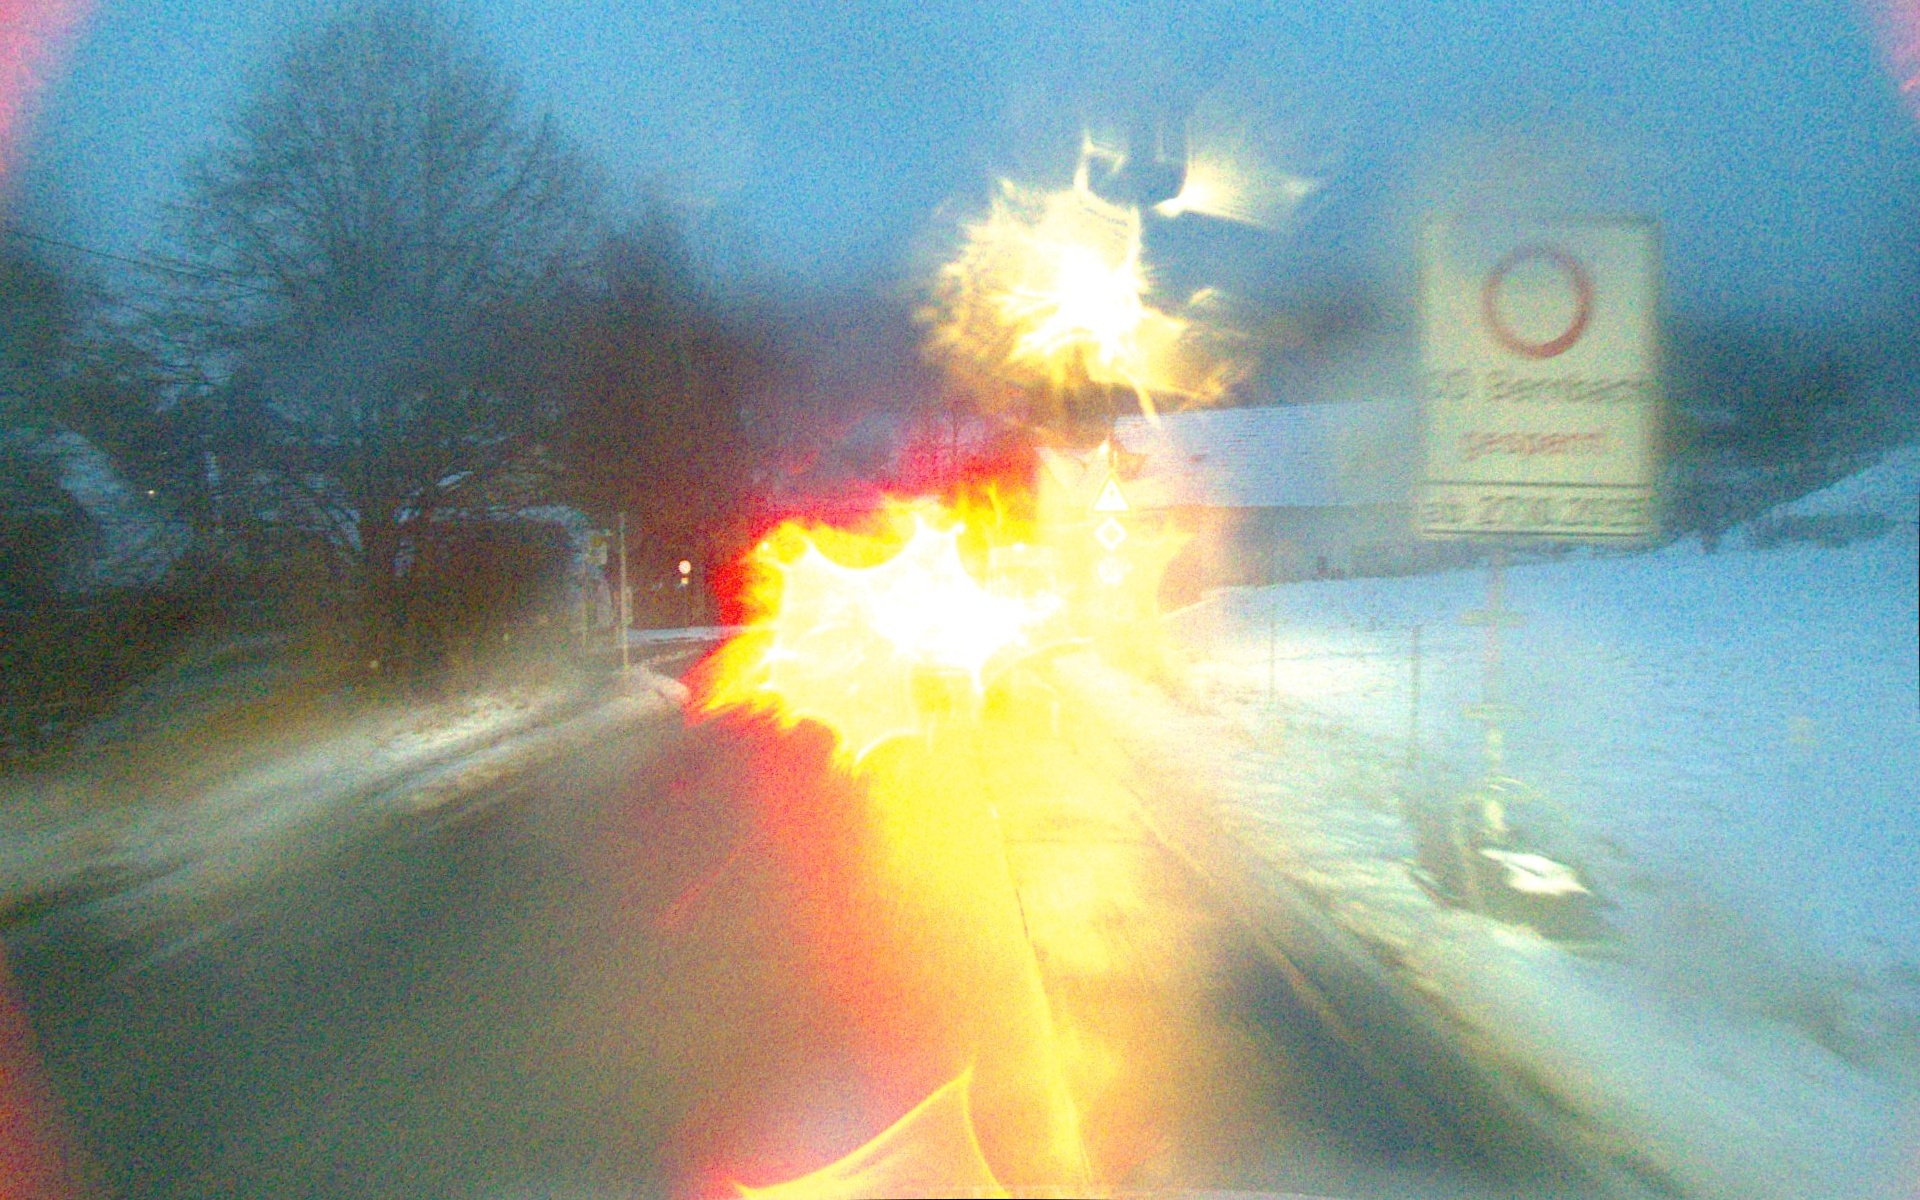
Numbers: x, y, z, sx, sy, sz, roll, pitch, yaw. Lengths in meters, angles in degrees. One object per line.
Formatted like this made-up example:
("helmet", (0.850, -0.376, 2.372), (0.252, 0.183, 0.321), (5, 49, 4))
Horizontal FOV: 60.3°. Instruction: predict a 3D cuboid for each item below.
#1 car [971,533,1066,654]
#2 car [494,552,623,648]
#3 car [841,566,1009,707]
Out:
("car", (1.564, -0.131, 45.865), (2.385, 3.071, 5.325), (-2, -1, 1))
("car", (-11.617, -0.026, 48.405), (2.419, 2.616, 6.226), (0, 0, -2))
("car", (-0.556, 0.487, 24.537), (2.228, 1.873, 5.004), (0, 0, -2))
